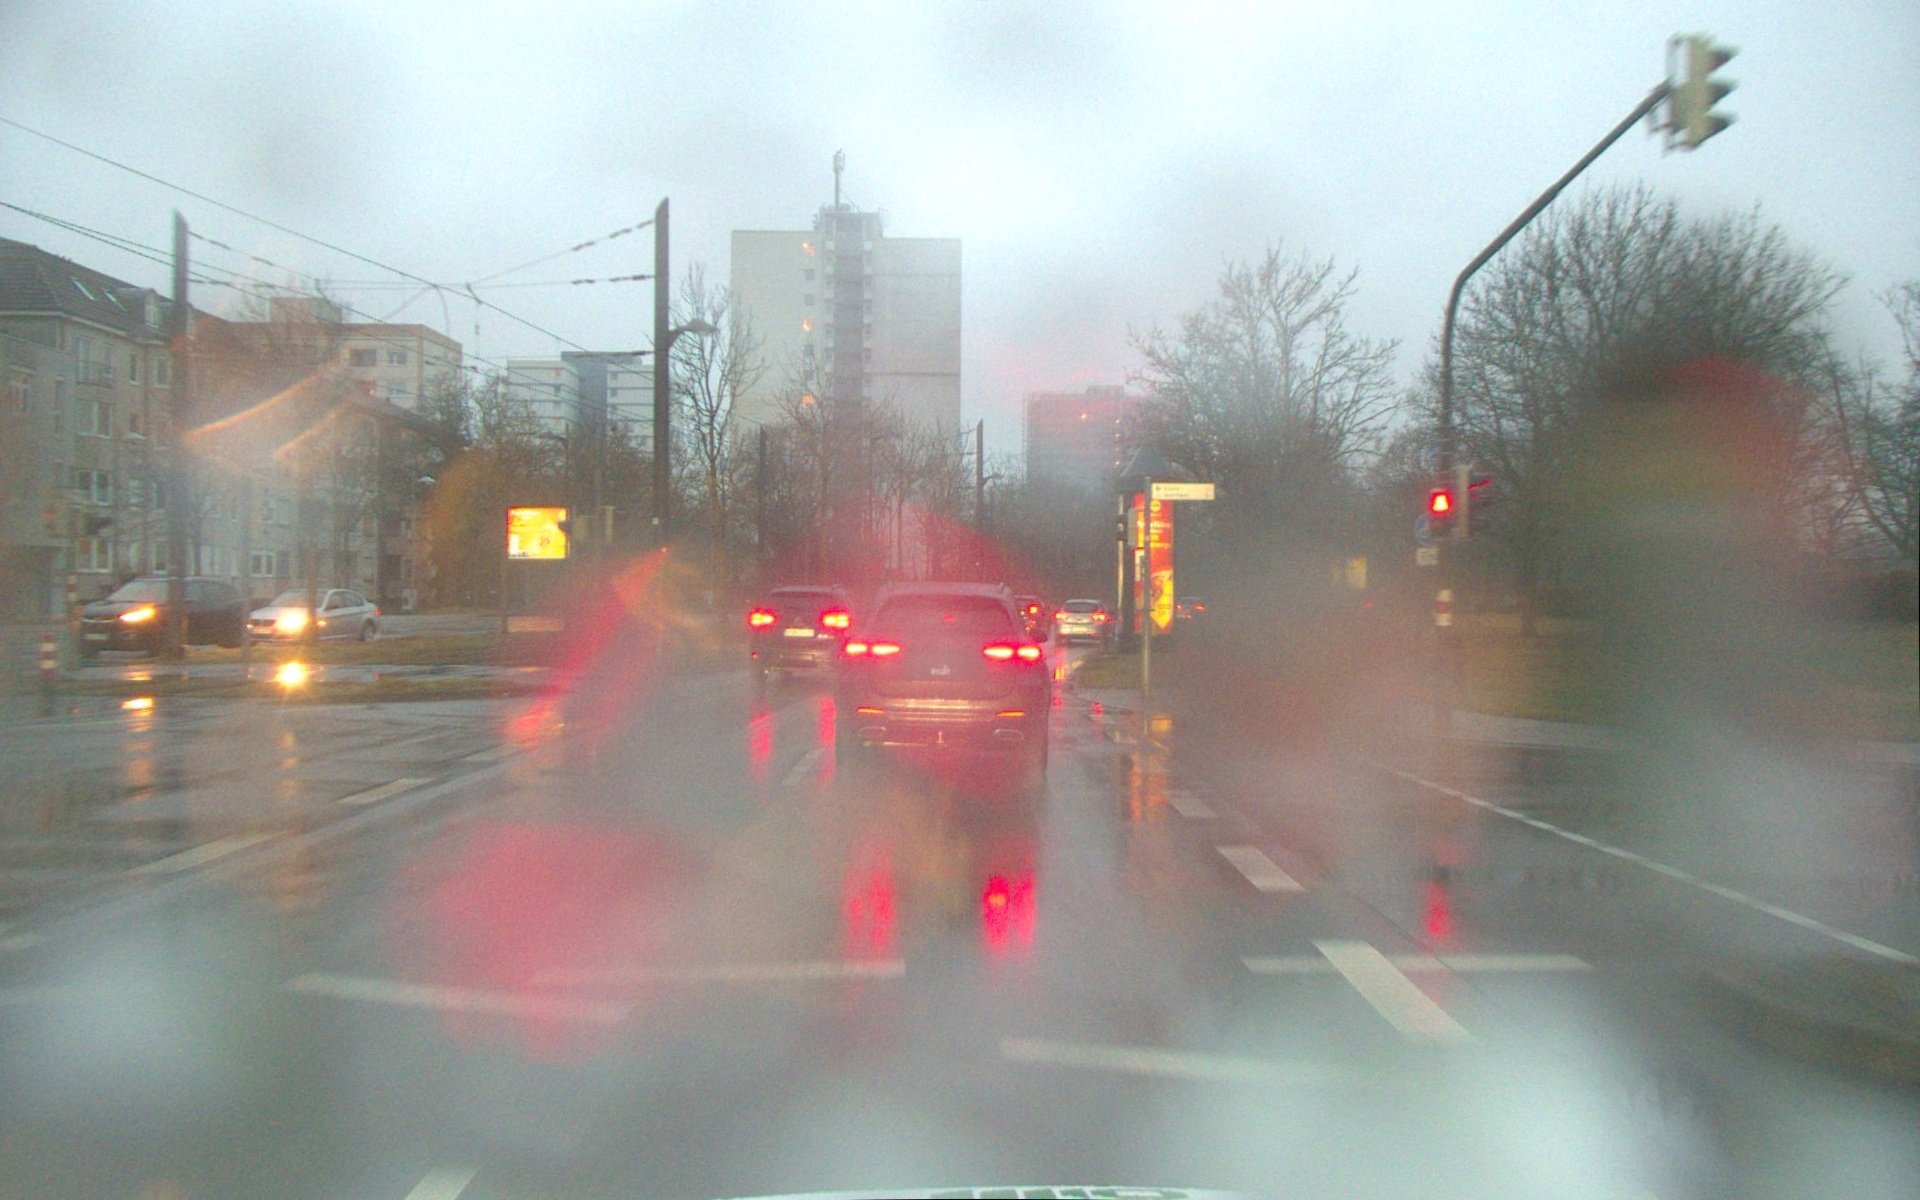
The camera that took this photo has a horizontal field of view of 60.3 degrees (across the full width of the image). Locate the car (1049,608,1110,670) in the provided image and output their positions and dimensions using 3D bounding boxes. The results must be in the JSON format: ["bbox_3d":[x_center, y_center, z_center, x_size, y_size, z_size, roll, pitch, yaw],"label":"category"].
[{"bbox_3d":[4.045,1.296,55.506,1.817,1.925,4.002,2,-1,6],"label":"car"}]

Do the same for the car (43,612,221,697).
[{"bbox_3d":[-17.331,1.116,34.859,1.768,1.635,3.998,2,-1,-2],"label":"car"}]

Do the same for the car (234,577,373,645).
[{"bbox_3d":[-16.282,0.295,41.286,1.555,1.556,4.932,2,-1,-1],"label":"car"}]

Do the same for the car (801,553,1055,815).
[{"bbox_3d":[-0.217,0.702,15.151,1.952,2.010,4.068,2,-1,1],"label":"car"}]

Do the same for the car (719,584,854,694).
[{"bbox_3d":[-2.969,0.673,29.158,1.953,1.742,4.323,2,-1,-1],"label":"car"}]

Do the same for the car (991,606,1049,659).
[{"bbox_3d":[2.330,1.265,63.632,1.734,1.925,3.645,2,-1,9],"label":"car"}]

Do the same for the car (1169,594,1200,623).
[{"bbox_3d":[12.750,0.485,94.206,1.503,1.540,3.344,2,-1,4],"label":"car"}]
